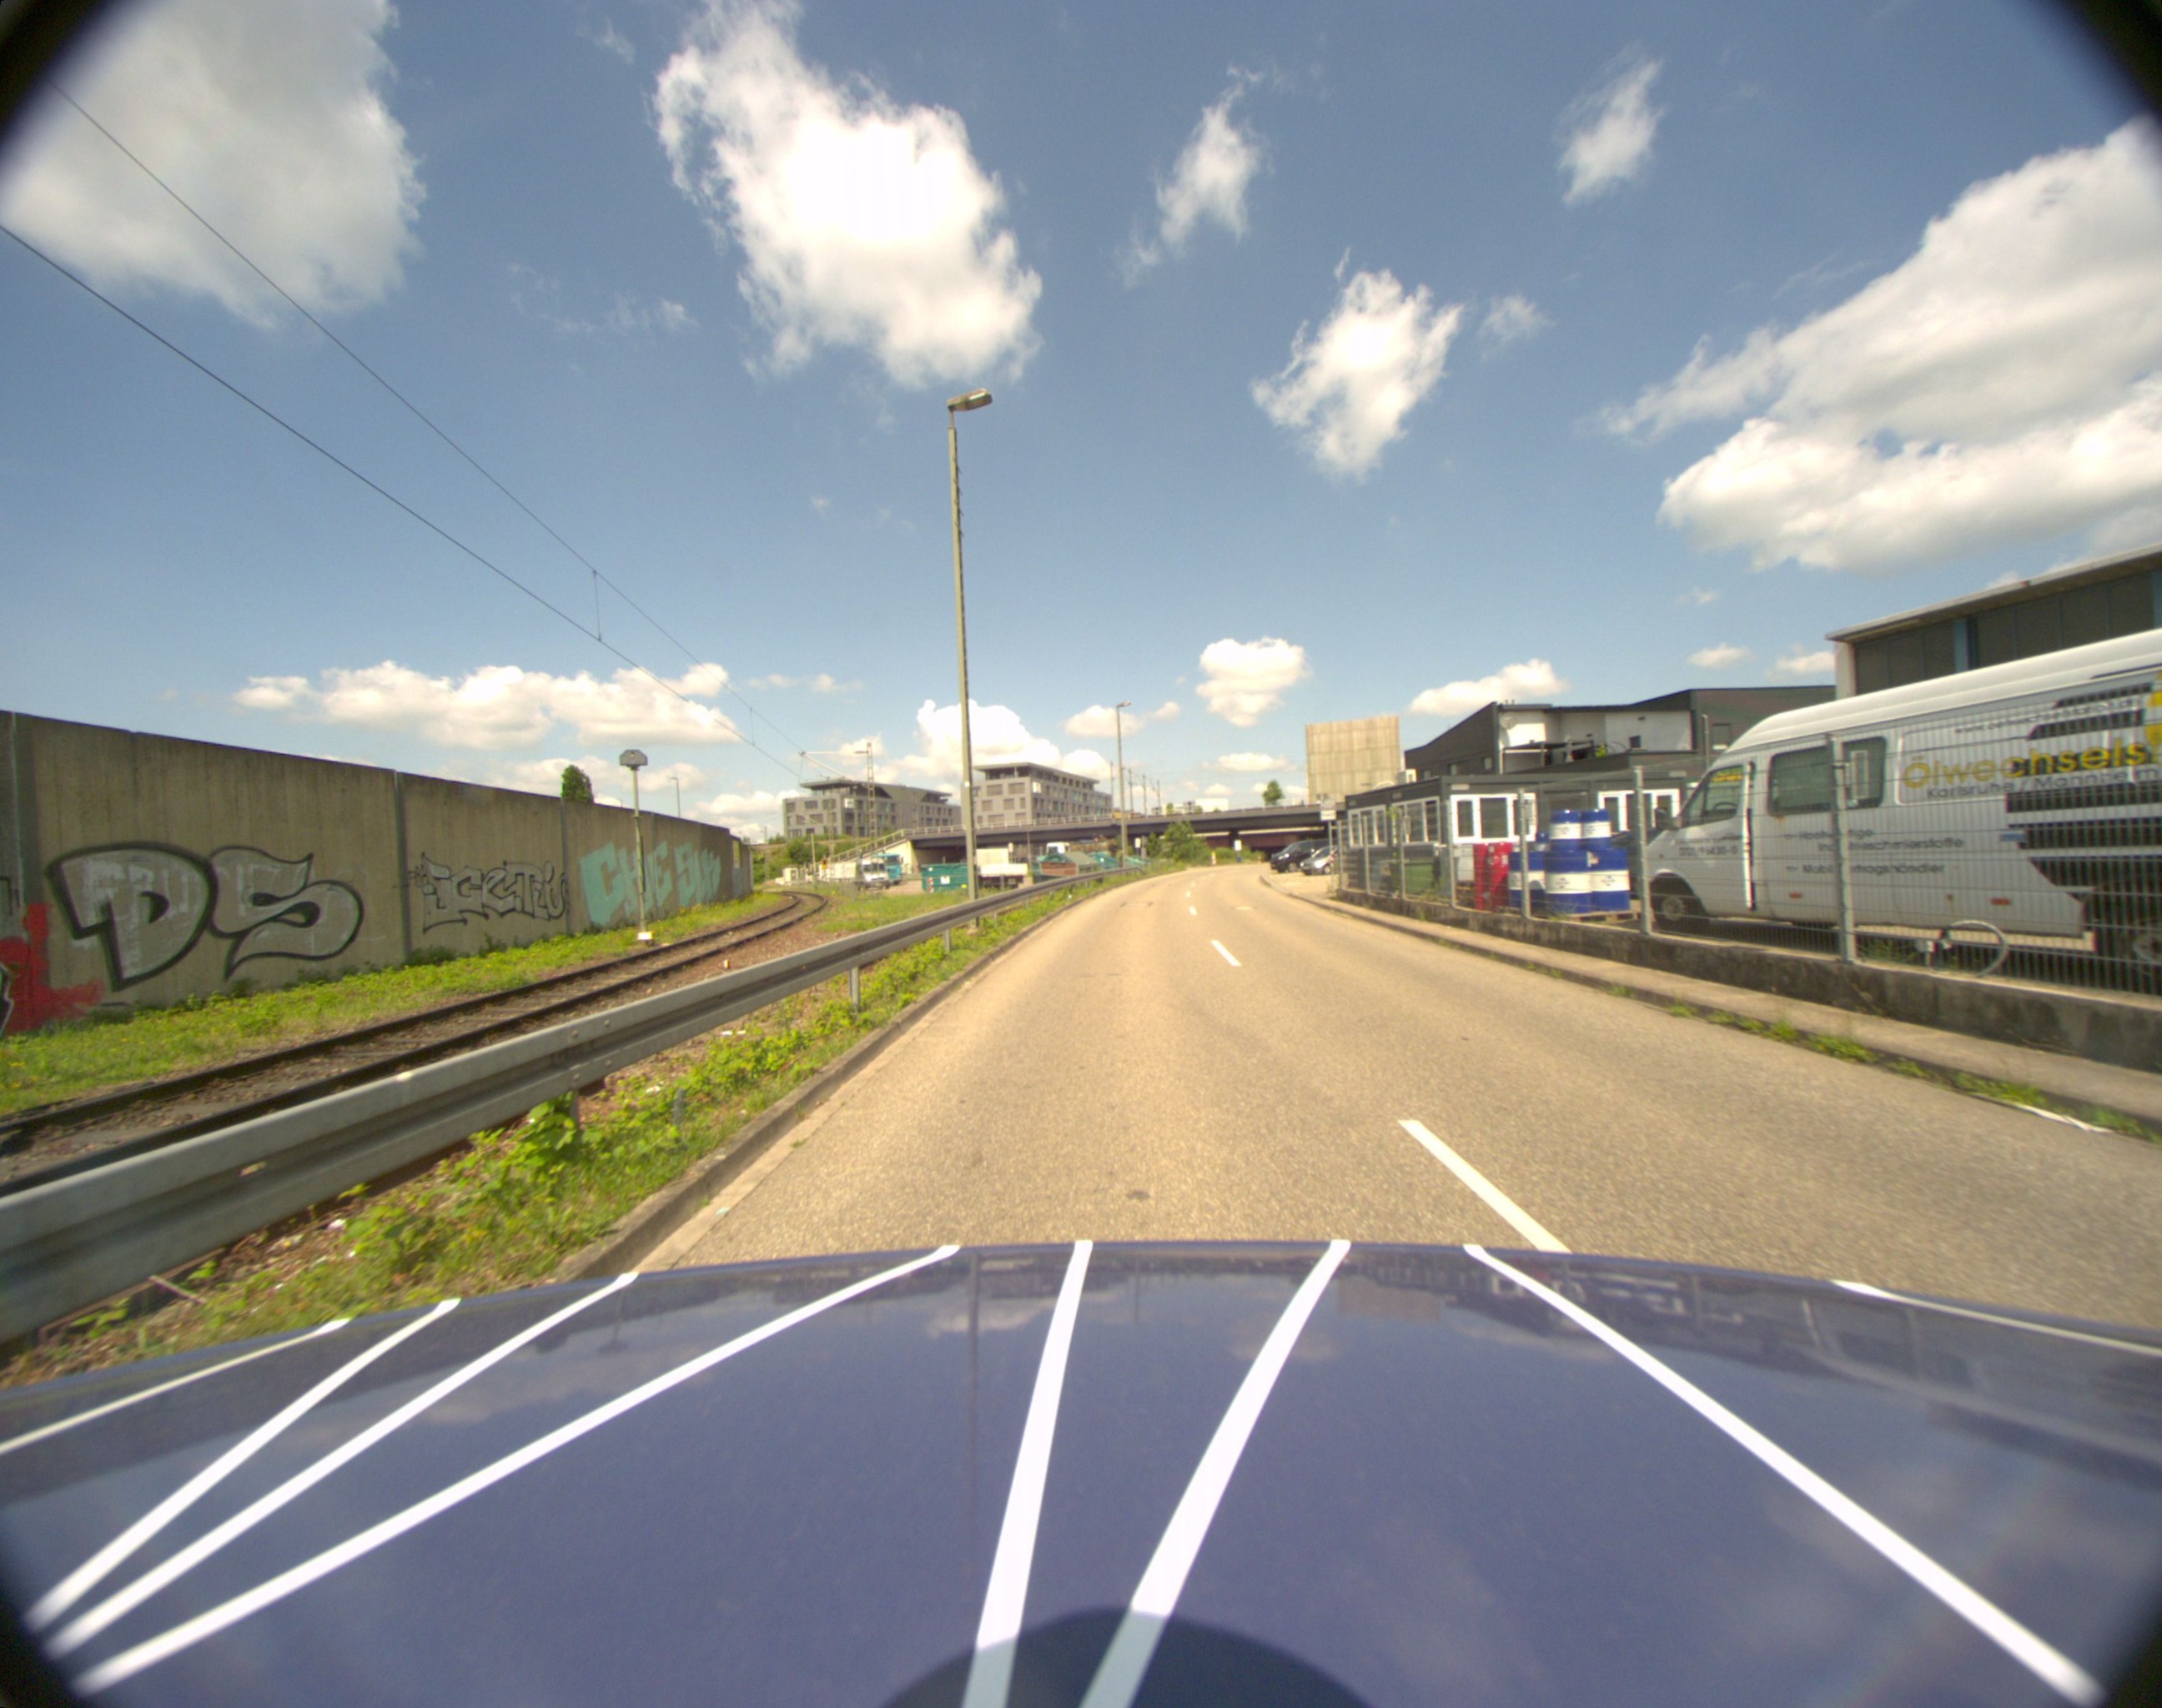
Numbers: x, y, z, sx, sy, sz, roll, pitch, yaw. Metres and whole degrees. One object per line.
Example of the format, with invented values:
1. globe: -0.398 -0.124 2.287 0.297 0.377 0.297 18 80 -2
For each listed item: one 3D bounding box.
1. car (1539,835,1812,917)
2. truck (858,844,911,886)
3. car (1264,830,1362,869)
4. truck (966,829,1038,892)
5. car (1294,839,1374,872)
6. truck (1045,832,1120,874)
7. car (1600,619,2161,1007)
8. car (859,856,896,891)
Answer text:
1. car: 11.558 0.372 14.925 4.210 1.325 1.731 -2 3 -7
2. truck: -18.619 1.039 71.758 2.659 3.625 6.872 -5 2 -31
3. car: 14.356 -0.263 47.083 5.343 1.905 1.998 -5 1 -9
4. truck: -4.954 0.373 46.084 2.997 3.399 8.103 -2 1 -15
5. car: 13.421 0.067 40.335 3.699 1.468 1.794 -4 0 -24
6. truck: 0.134 -0.066 60.763 5.502 3.080 2.002 -2 1 19
7. car: 8.065 -0.298 6.772 2.124 2.522 6.716 -2 0 -1
8. car: -16.351 1.490 60.746 2.068 2.512 5.871 -4 1 -21
